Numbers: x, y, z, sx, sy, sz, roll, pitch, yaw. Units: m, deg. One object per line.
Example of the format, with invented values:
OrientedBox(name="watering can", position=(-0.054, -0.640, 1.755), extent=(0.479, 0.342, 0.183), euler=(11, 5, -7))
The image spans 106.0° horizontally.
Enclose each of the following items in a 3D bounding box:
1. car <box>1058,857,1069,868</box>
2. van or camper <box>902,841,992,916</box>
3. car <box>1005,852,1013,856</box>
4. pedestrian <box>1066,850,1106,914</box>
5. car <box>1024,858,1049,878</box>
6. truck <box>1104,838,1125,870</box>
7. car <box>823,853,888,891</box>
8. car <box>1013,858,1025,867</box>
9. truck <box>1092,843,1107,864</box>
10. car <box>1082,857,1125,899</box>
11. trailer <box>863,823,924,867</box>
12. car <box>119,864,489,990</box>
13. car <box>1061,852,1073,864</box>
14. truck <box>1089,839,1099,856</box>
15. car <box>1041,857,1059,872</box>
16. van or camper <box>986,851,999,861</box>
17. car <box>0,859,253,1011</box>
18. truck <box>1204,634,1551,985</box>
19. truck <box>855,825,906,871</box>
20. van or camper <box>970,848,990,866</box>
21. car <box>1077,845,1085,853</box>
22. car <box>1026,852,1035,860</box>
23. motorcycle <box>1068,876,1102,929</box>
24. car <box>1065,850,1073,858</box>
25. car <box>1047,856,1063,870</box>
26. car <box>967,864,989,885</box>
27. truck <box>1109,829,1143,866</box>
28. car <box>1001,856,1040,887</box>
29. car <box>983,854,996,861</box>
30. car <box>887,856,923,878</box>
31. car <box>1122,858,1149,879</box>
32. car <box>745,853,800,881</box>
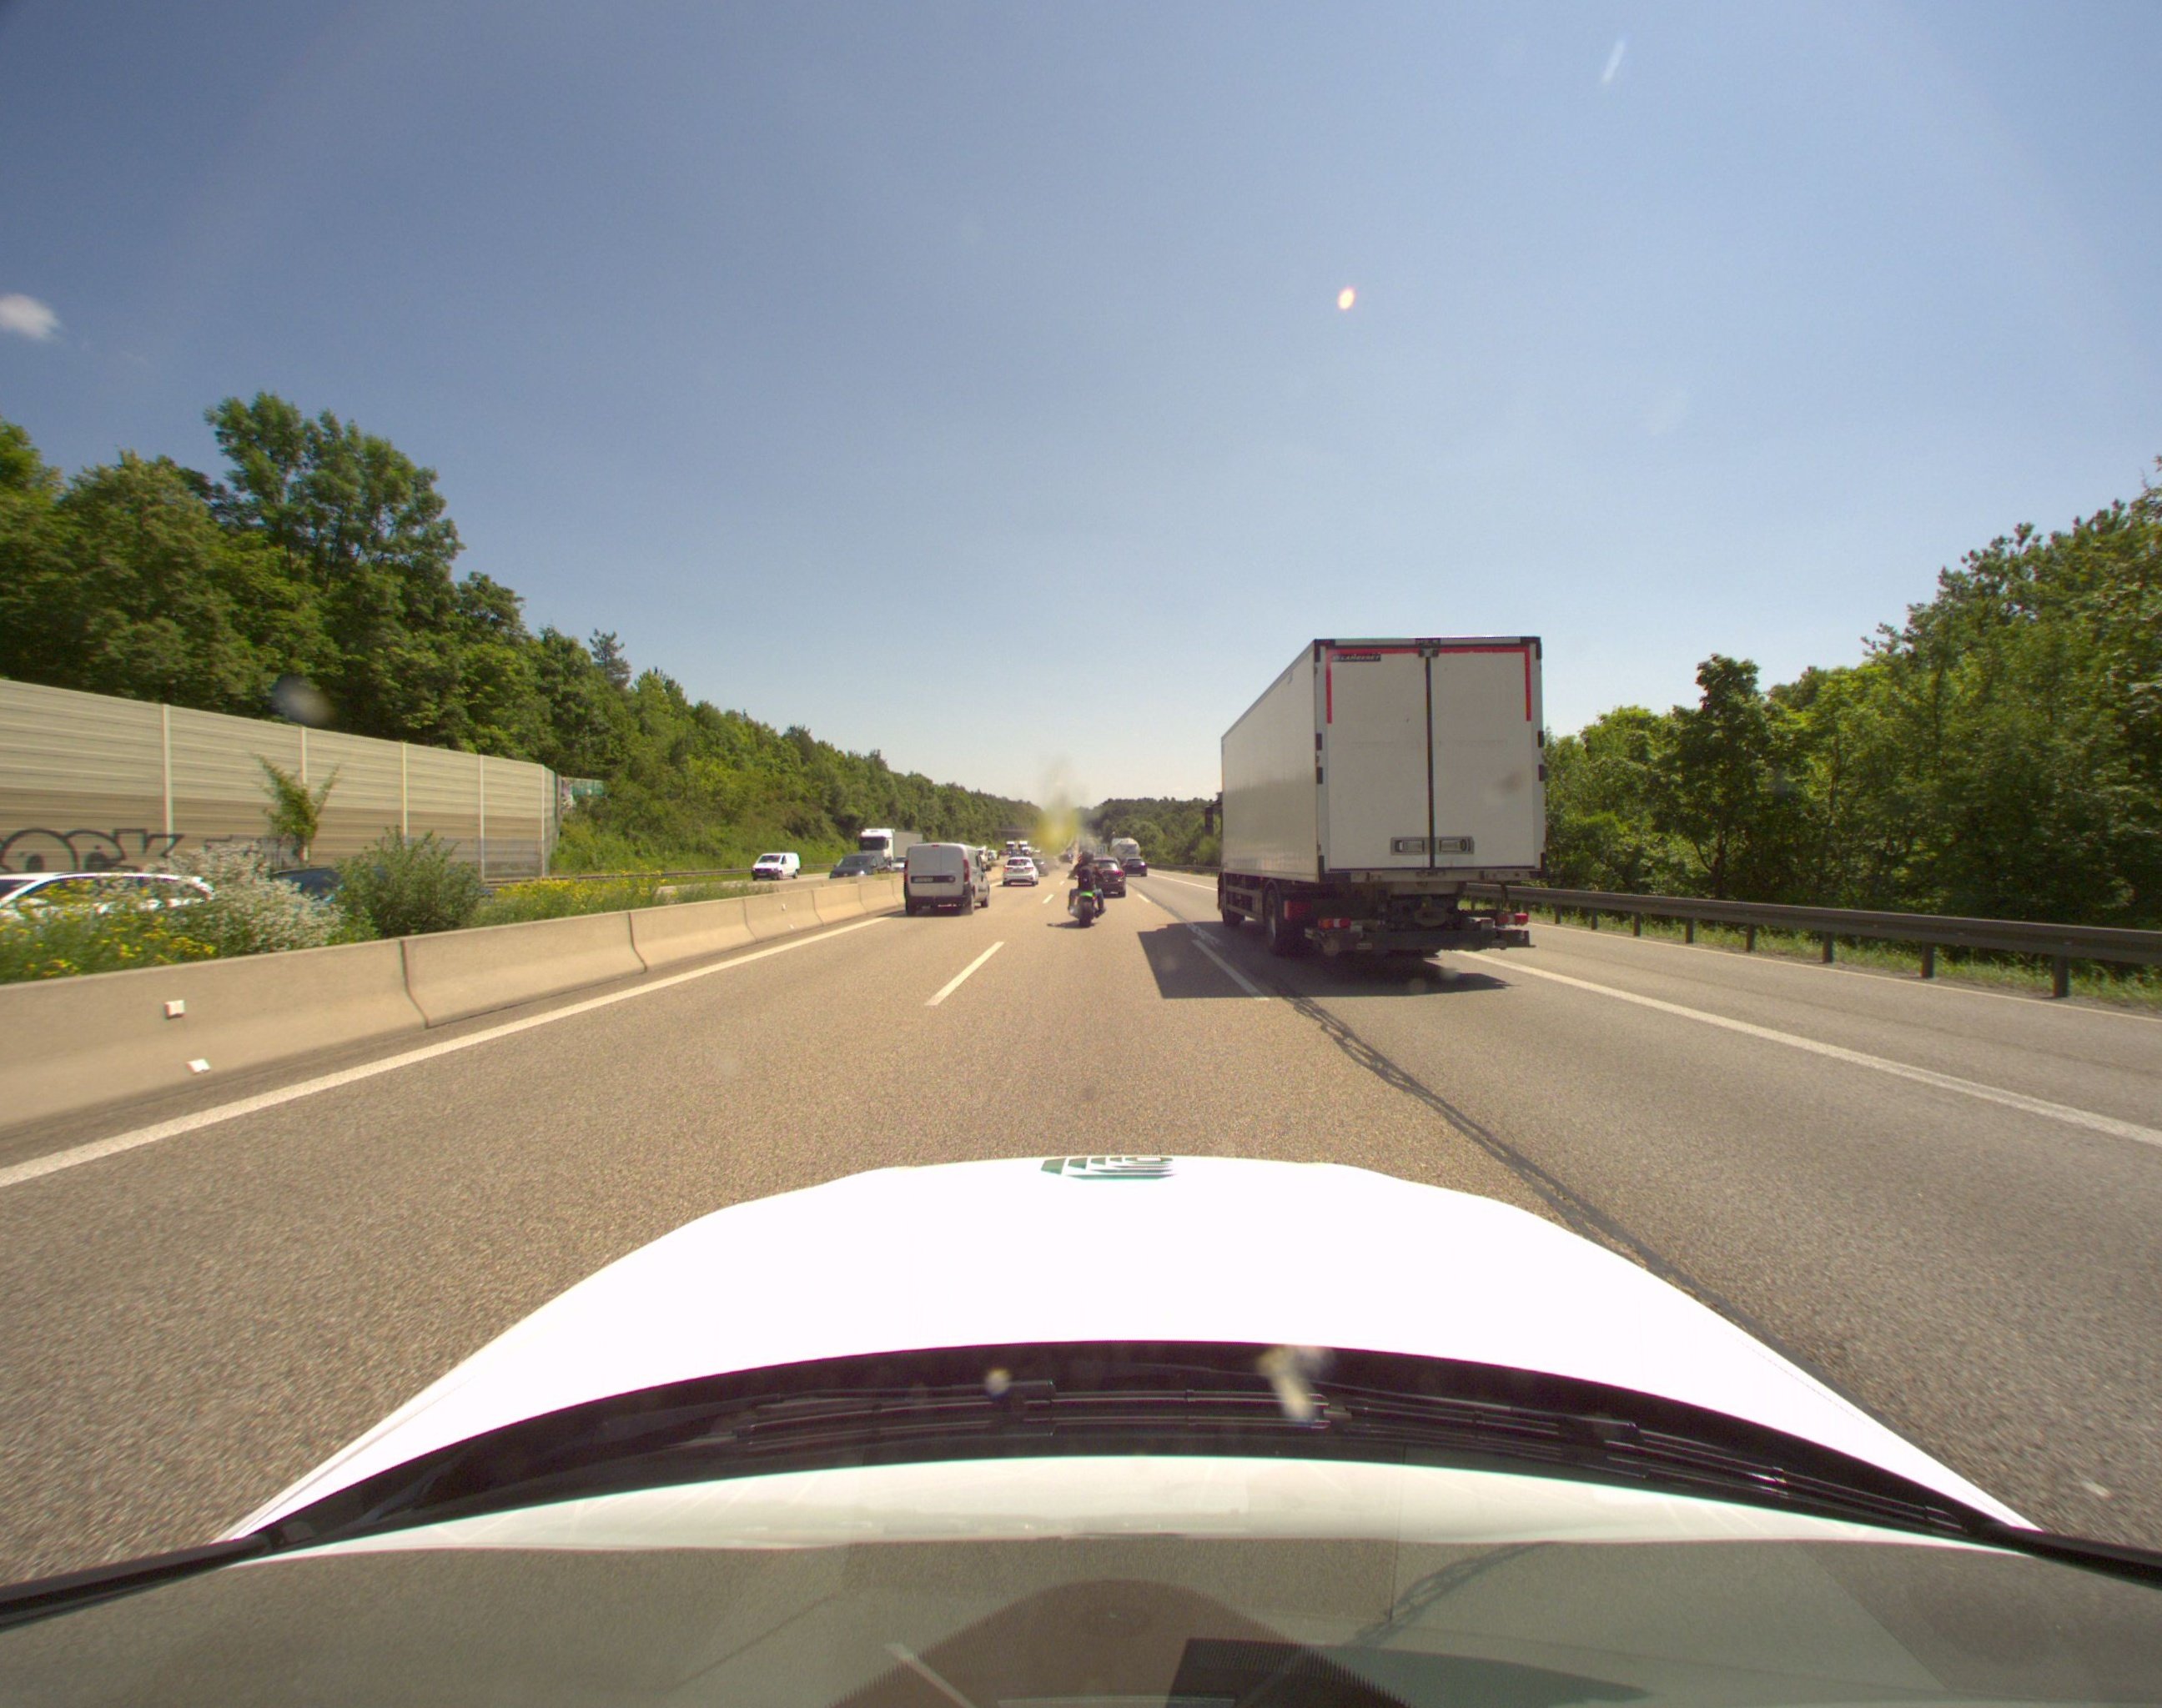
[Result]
OrientedBox(name="car", position=(-3.320, 1.679, 155.978), extent=(1.987, 2.014, 4.000), euler=(-1, -1, 0))
OrientedBox(name="van or camper", position=(-3.622, 0.641, 22.723), extent=(1.790, 1.892, 4.160), euler=(-1, -1, 0))
OrientedBox(name="car", position=(-21.509, 0.053, 243.176), extent=(1.757, 1.370, 4.500), euler=(0, 0, 0))
OrientedBox(name="pedestrian", position=(0.116, 0.605, 17.917), extent=(0.846, 1.362, 0.962), euler=(0, 0, 1))
OrientedBox(name="car", position=(-3.413, 1.048, 63.054), extent=(1.694, 1.478, 3.999), euler=(1, 0, 0))
OrientedBox(name="truck", position=(3.781, 0.019, 93.010), extent=(1.989, 3.522, 4.746), euler=(0, -1, -2))
OrientedBox(name="car", position=(-10.654, 0.827, 38.833), extent=(1.678, 1.698, 4.659), euler=(0, 0, 1))
OrientedBox(name="car", position=(-10.628, 1.402, 139.634), extent=(1.705, 1.538, 4.127), euler=(0, 0, 0))
OrientedBox(name="truck", position=(4.318, -0.076, 187.206), extent=(3.023, 4.542, 9.981), euler=(3, 0, 0))
OrientedBox(name="car", position=(0.881, 0.862, 31.197), extent=(1.527, 1.510, 4.002), euler=(0, 0, 2))
OrientedBox(name="trailer", position=(-18.041, -0.703, 79.496), extent=(2.804, 3.908, 13.822), euler=(0, -1, 0))
OrientedBox(name="car", position=(-10.667, 0.893, 11.625), extent=(1.611, 1.467, 3.754), euler=(0, 0, 1))
OrientedBox(name="car", position=(-2.349, 0.692, 139.887), extent=(1.874, 1.859, 4.000), euler=(2, 0, 0))
OrientedBox(name="truck", position=(4.131, -2.039, 260.139), extent=(3.023, 5.139, 9.981), euler=(3, 0, 0))
OrientedBox(name="car", position=(-3.187, 1.068, 83.859), extent=(1.694, 1.478, 3.999), euler=(1, 0, 0))
OrientedBox(name="van or camper", position=(-17.437, 0.449, 160.273), extent=(2.069, 1.977, 3.705), euler=(0, 0, 0))
OrientedBox(name="car", position=(-14.487, 1.043, 11.100), extent=(1.731, 1.922, 4.505), euler=(-1, -1, 1))
OrientedBox(name="truck", position=(4.054, -0.474, 14.017), extent=(2.678, 3.876, 9.785), euler=(-1, 0, 2))
OrientedBox(name="truck", position=(-17.911, -0.439, 73.296), extent=(2.804, 3.908, 7.312), euler=(0, -1, -1))
OrientedBox(name="van or camper", position=(-15.601, 0.505, 125.871), extent=(2.262, 2.736, 6.804), euler=(-1, -1, 0))
OrientedBox(name="car", position=(0.114, -1.623, 263.194), extent=(2.496, 2.587, 5.015), euler=(1, 0, 0))
OrientedBox(name="car", position=(-11.537, 0.482, 185.294), extent=(1.887, 1.948, 3.997), euler=(0, -1, -2))
OrientedBox(name="motorcycle", position=(0.098, 1.024, 17.778), extent=(0.689, 1.015, 2.122), euler=(0, 0, 1))
OrientedBox(name="car", position=(-3.381, 0.047, 228.795), extent=(1.923, 2.014, 4.000), euler=(-1, -1, 0))
OrientedBox(name="car", position=(-2.988, 1.012, 94.420), extent=(1.694, 1.478, 3.999), euler=(1, 0, 0))
OrientedBox(name="car", position=(-10.037, 1.986, 79.501), extent=(1.758, 2.014, 3.998), euler=(0, 0, -1))
OrientedBox(name="truck", position=(4.588, -0.575, 84.124), extent=(2.978, 3.671, 9.285), euler=(-1, -1, 0))
OrientedBox(name="car", position=(-3.126, 0.879, 42.870), extent=(1.694, 1.478, 3.999), euler=(1, 0, 0))
OrientedBox(name="car", position=(-17.486, 0.692, 155.654), extent=(1.795, 1.347, 4.723), euler=(0, 0, 0))
OrientedBox(name="car", position=(-13.767, 1.019, 63.813), extent=(1.821, 1.670, 4.106), euler=(-1, -1, 1))
OrientedBox(name="car", position=(4.210, 1.113, 63.658), extent=(1.823, 1.470, 3.999), euler=(2, 0, 0))
OrientedBox(name="car", position=(-21.620, 0.895, 57.332), extent=(1.915, 1.867, 5.302), euler=(-1, -1, 0))
